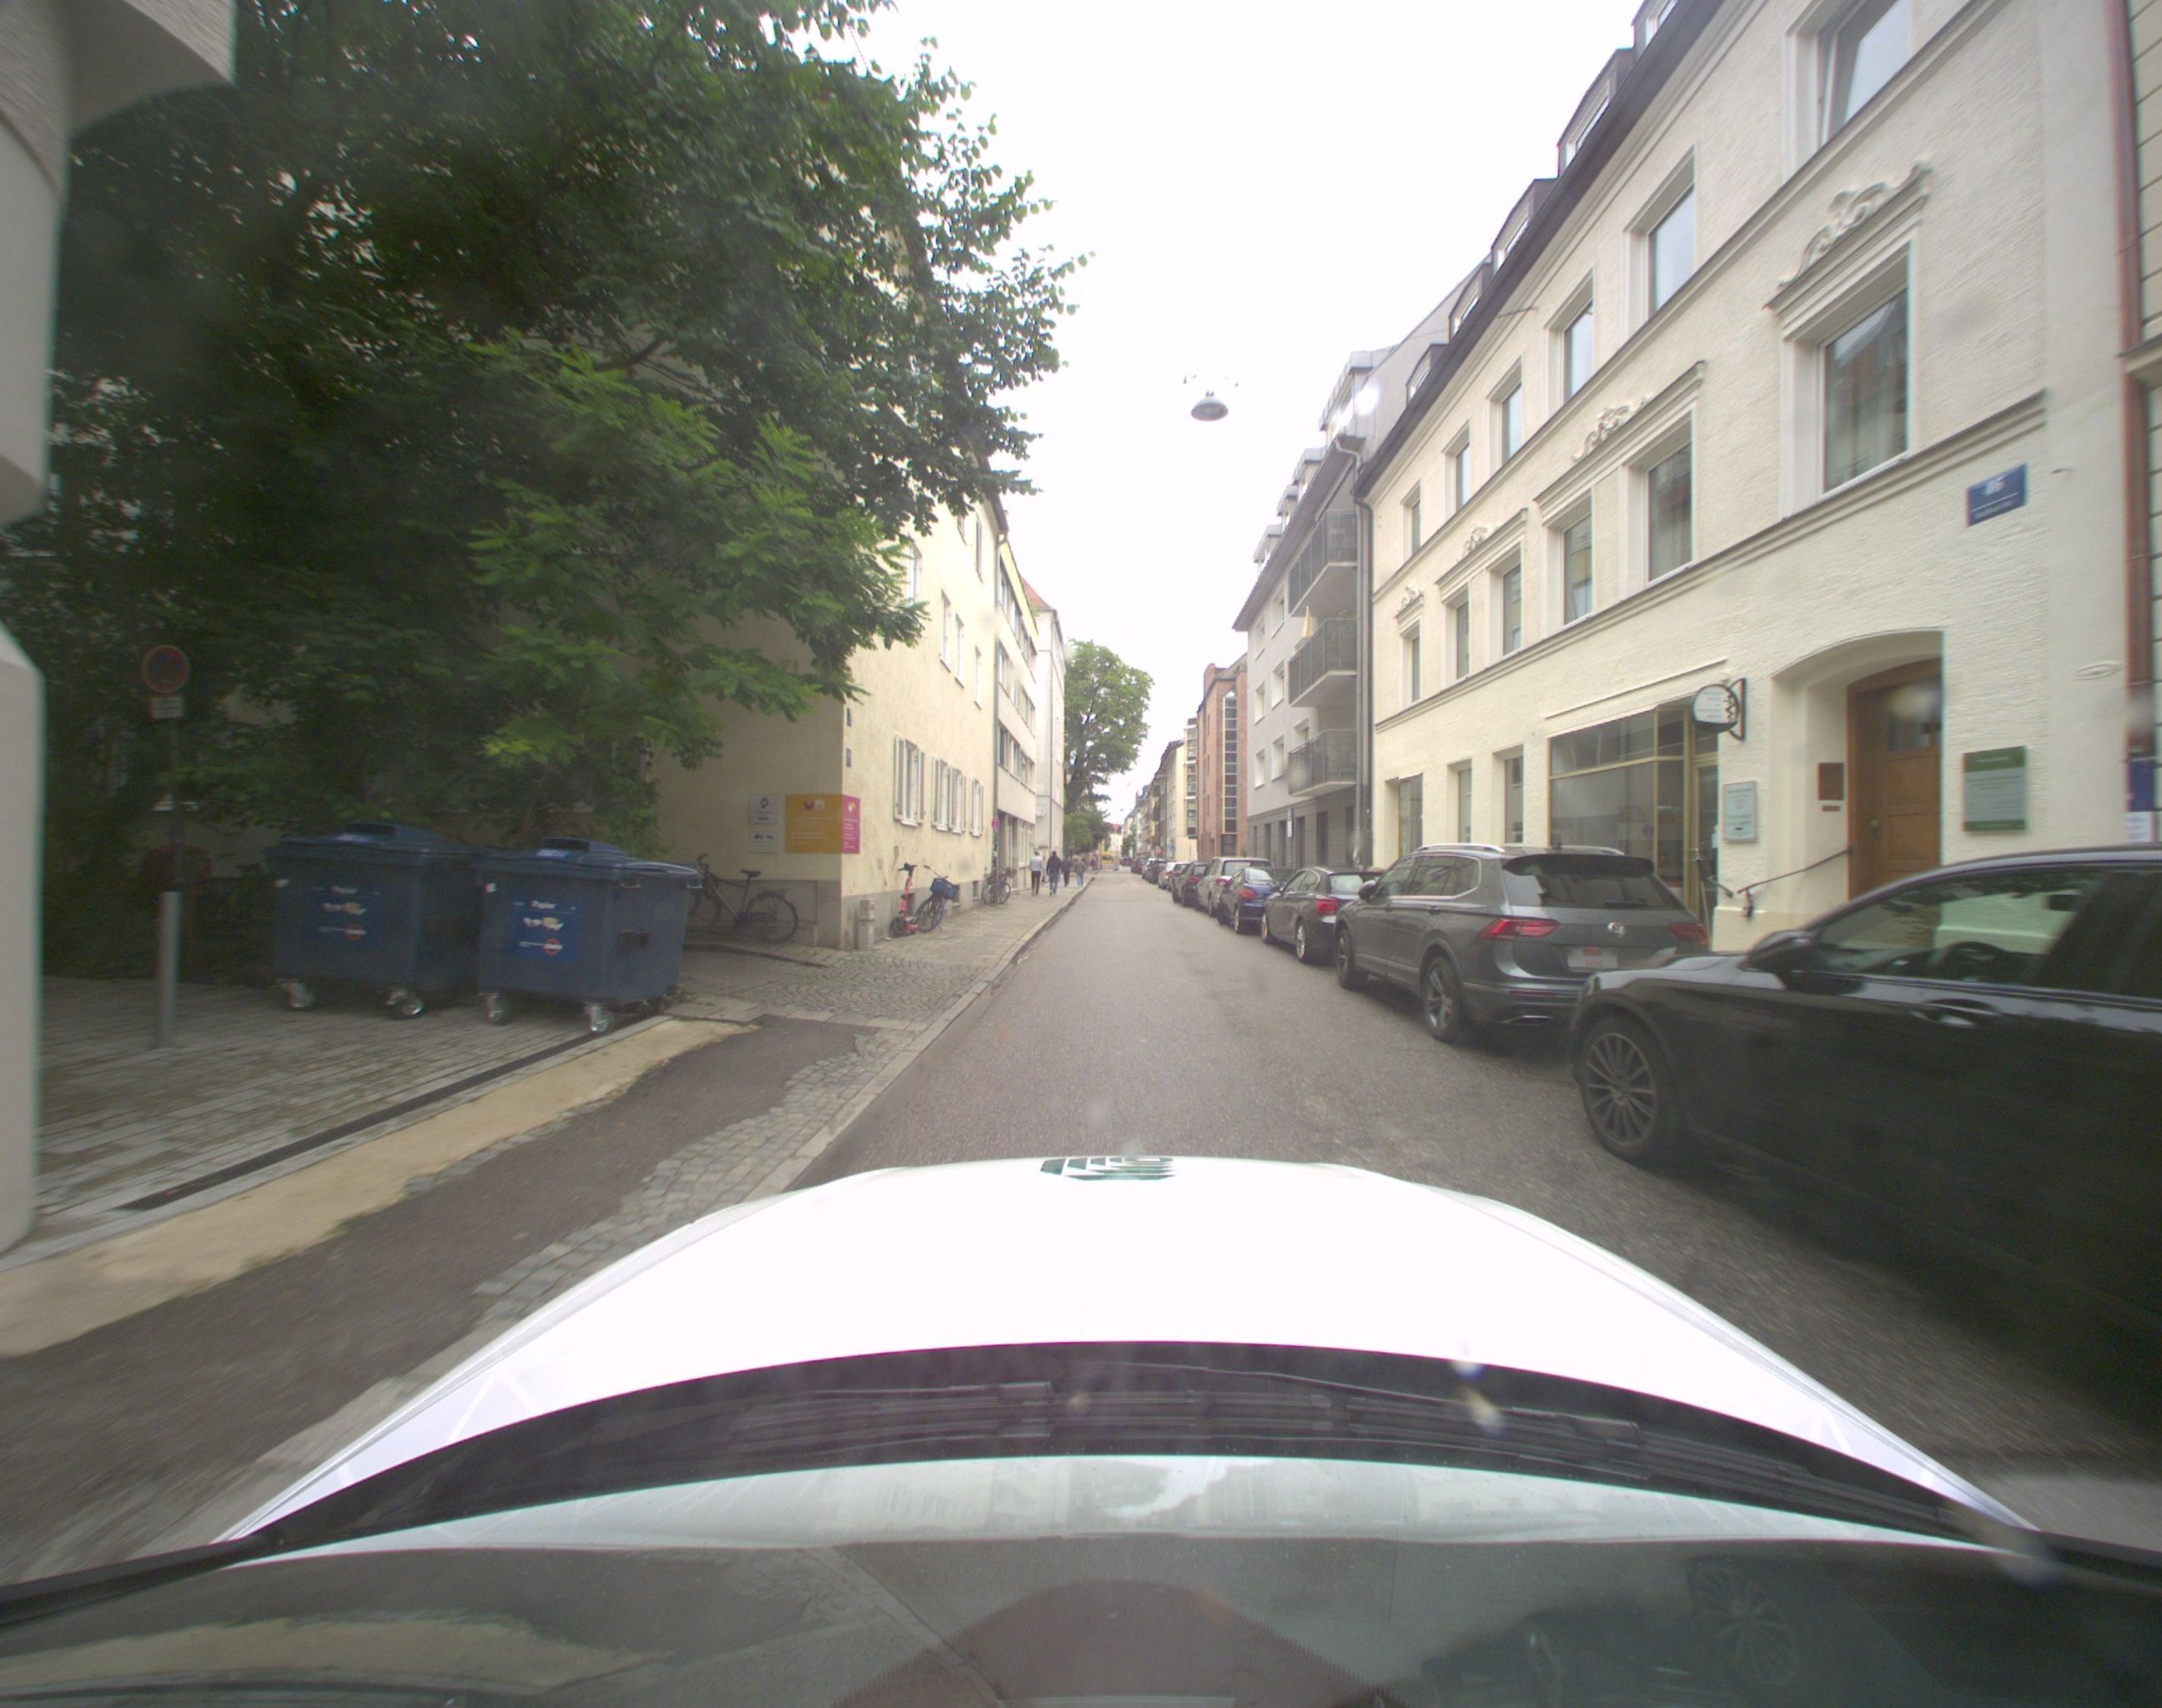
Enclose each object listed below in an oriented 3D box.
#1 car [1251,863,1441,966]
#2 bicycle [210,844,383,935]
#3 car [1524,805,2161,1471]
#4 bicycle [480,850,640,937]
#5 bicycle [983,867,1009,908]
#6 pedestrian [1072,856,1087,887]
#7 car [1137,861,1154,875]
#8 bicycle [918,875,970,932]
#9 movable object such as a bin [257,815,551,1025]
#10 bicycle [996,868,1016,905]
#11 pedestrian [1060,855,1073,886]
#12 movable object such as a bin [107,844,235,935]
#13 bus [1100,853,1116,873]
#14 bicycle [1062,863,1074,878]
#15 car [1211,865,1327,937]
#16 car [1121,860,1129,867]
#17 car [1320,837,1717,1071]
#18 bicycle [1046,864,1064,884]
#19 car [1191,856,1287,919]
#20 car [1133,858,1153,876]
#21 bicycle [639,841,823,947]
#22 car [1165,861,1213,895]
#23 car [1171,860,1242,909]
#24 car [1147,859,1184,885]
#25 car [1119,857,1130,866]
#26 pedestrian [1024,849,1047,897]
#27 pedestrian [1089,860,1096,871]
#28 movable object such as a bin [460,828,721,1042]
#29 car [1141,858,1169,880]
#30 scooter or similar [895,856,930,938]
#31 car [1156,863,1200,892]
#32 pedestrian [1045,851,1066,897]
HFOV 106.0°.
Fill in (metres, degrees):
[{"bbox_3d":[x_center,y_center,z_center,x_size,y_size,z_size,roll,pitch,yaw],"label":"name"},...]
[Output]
[{"bbox_3d":[4.086,0.854,13.345,1.793,1.386,4.350,0,-1,1],"label":"car"},{"bbox_3d":[-10.629,0.472,11.060,1.791,1.195,0.533,1,-1,0],"label":"bicycle"},{"bbox_3d":[3.484,0.697,2.639,1.695,1.607,4.686,1,0,2],"label":"car"},{"bbox_3d":[-7.040,0.527,11.045,1.791,1.134,0.533,1,-1,0],"label":"bicycle"},{"bbox_3d":[-2.523,0.987,24.283,0.456,1.159,1.606,3,-1,3],"label":"bicycle"},{"bbox_3d":[-0.081,0.967,45.303,0.750,1.659,0.907,2,-1,2],"label":"pedestrian"},{"bbox_3d":[6.725,1.440,84.660,1.618,1.487,3.810,1,0,2],"label":"car"},{"bbox_3d":[-2.680,0.951,16.139,0.702,0.984,1.821,4,-1,-2],"label":"bicycle"},{"bbox_3d":[-5.291,0.463,6.488,1.169,1.405,1.250,5,1,4],"label":"movable object such as a bin"},{"bbox_3d":[-2.381,1.015,25.997,0.560,1.159,1.718,1,-1,-4],"label":"bicycle"},{"bbox_3d":[-0.787,0.907,45.156,0.610,1.713,0.823,2,-1,1],"label":"pedestrian"},{"bbox_3d":[-12.167,0.457,10.920,0.746,1.160,0.827,1,-1,4],"label":"movable object such as a bin"},{"bbox_3d":[4.472,1.504,135.006,2.582,3.102,6.309,-1,-1,2],"label":"bus"},{"bbox_3d":[-1.009,1.283,63.564,0.474,1.111,1.751,1,-1,-15],"label":"bicycle"},{"bbox_3d":[3.988,0.945,17.887,1.801,1.363,3.948,0,-1,3],"label":"car"},{"bbox_3d":[10.491,2.209,195.090,1.794,1.614,4.002,1,0,2],"label":"car"},{"bbox_3d":[3.802,0.727,8.104,1.669,1.661,4.514,1,0,2],"label":"car"},{"bbox_3d":[-1.564,1.204,48.957,0.643,1.217,1.655,0,-1,-17],"label":"bicycle"},{"bbox_3d":[4.298,0.865,22.804,1.869,1.570,4.316,-1,-1,0],"label":"car"},{"bbox_3d":[6.724,1.382,89.025,1.795,1.820,3.999,4,0,0],"label":"car"},{"bbox_3d":[-4.702,0.528,10.998,2.192,1.299,0.514,3,-1,1],"label":"bicycle"},{"bbox_3d":[4.987,1.095,38.099,1.739,1.462,4.151,1,0,1],"label":"car"},{"bbox_3d":[4.162,0.970,27.695,1.833,1.528,4.293,1,0,1],"label":"car"},{"bbox_3d":[5.406,1.141,52.547,1.879,1.555,4.391,1,0,0],"label":"car"},{"bbox_3d":[8.894,1.439,166.810,1.795,1.712,3.826,4,0,0],"label":"car"},{"bbox_3d":[-1.755,0.732,31.630,0.715,1.797,0.917,2,-1,2],"label":"pedestrian"},{"bbox_3d":[1.473,1.475,104.145,0.753,1.491,0.831,-1,-1,2],"label":"pedestrian"},{"bbox_3d":[-3.858,0.573,6.546,1.168,1.442,1.251,5,1,8],"label":"movable object such as a bin"},{"bbox_3d":[5.701,1.114,62.864,1.743,1.630,4.195,0,0,0],"label":"car"},{"bbox_3d":[-2.974,0.739,14.416,0.316,1.376,1.239,-1,-1,2],"label":"scooter or similar"},{"bbox_3d":[5.035,1.178,42.700,1.830,1.417,4.601,1,0,1],"label":"car"},{"bbox_3d":[-0.999,0.787,31.813,0.715,1.765,0.838,2,-1,2],"label":"pedestrian"}]
